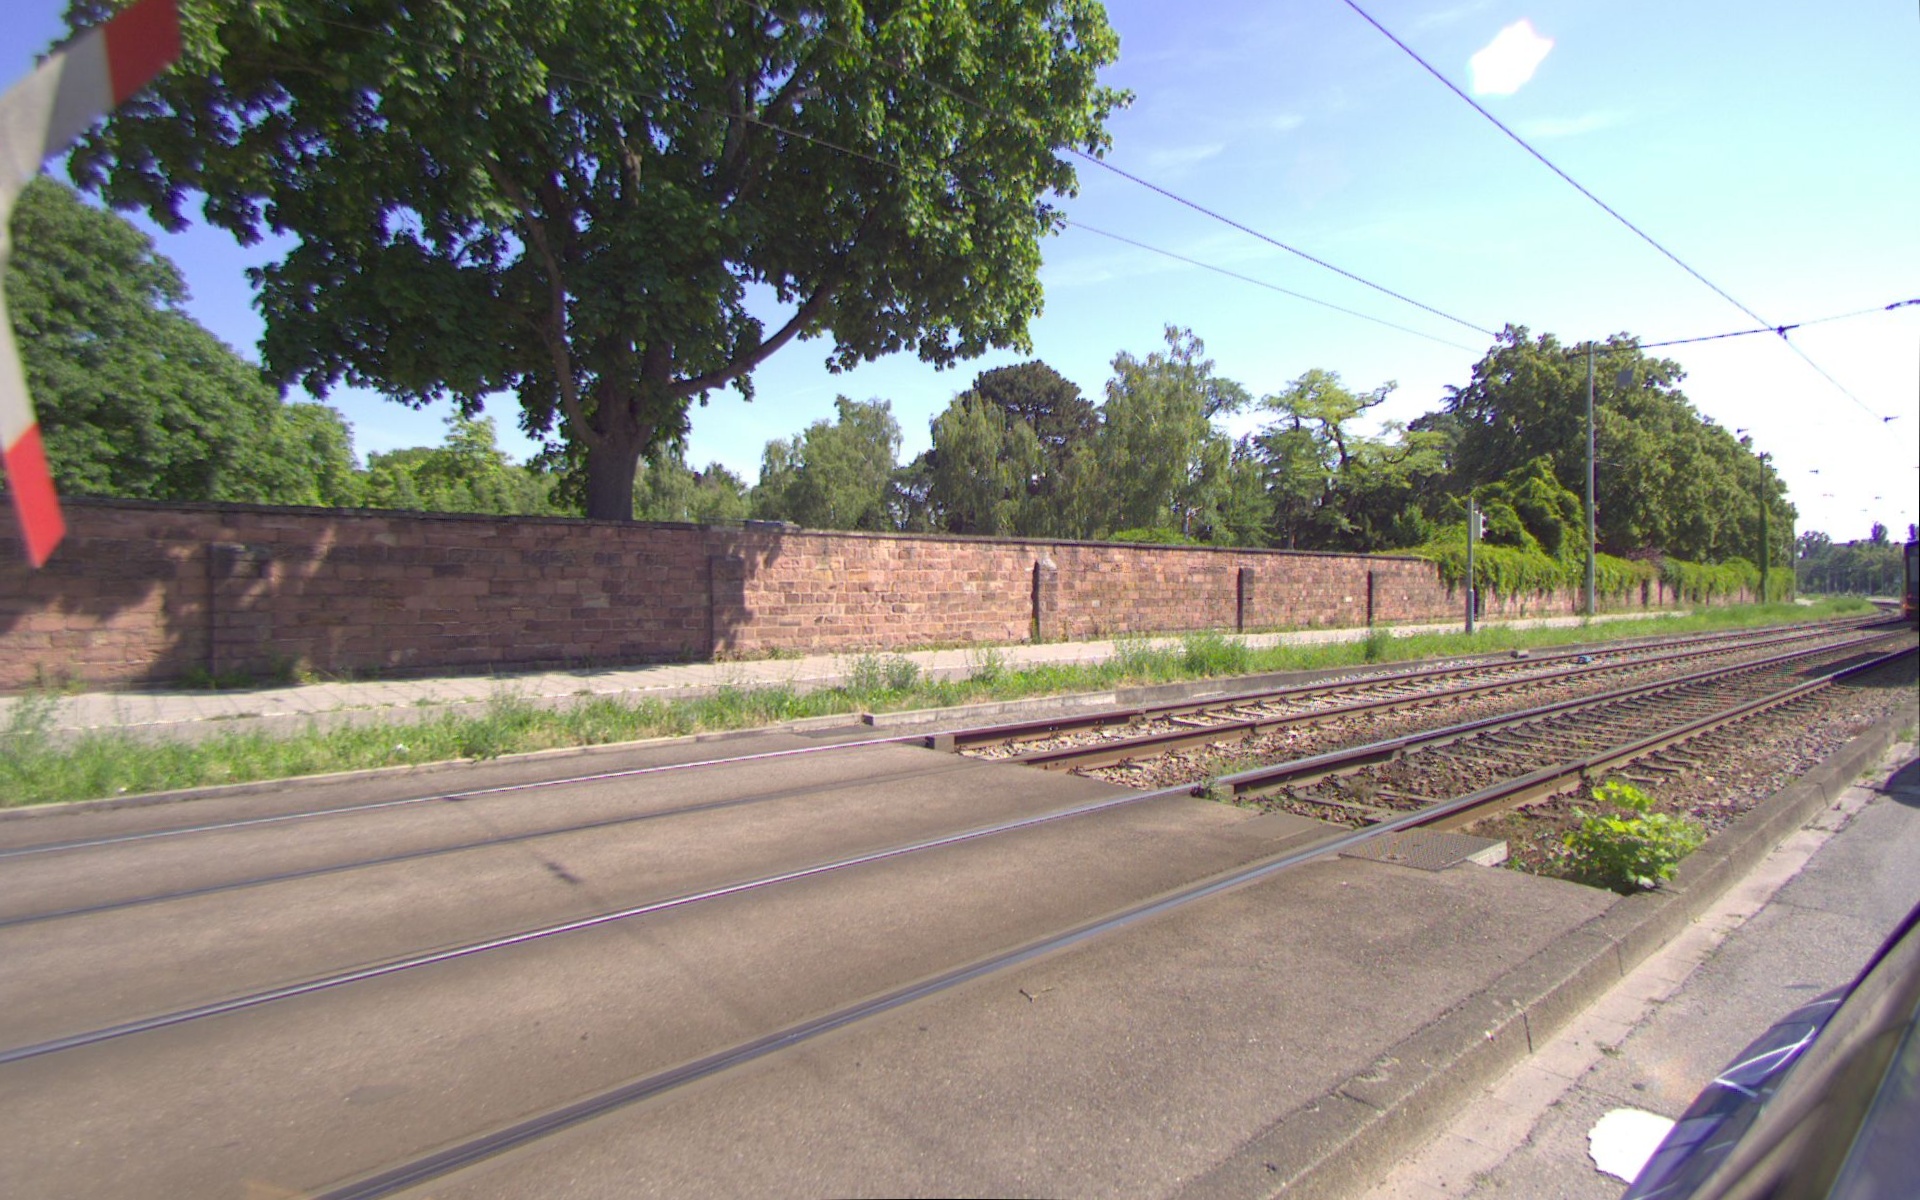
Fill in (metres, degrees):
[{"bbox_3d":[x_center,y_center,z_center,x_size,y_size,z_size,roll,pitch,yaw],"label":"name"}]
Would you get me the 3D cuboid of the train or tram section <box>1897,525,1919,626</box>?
[{"bbox_3d":[41.252,-1.068,41.461,15.043,3.698,2.673,-1,0,-42],"label":"train or tram section"}]
